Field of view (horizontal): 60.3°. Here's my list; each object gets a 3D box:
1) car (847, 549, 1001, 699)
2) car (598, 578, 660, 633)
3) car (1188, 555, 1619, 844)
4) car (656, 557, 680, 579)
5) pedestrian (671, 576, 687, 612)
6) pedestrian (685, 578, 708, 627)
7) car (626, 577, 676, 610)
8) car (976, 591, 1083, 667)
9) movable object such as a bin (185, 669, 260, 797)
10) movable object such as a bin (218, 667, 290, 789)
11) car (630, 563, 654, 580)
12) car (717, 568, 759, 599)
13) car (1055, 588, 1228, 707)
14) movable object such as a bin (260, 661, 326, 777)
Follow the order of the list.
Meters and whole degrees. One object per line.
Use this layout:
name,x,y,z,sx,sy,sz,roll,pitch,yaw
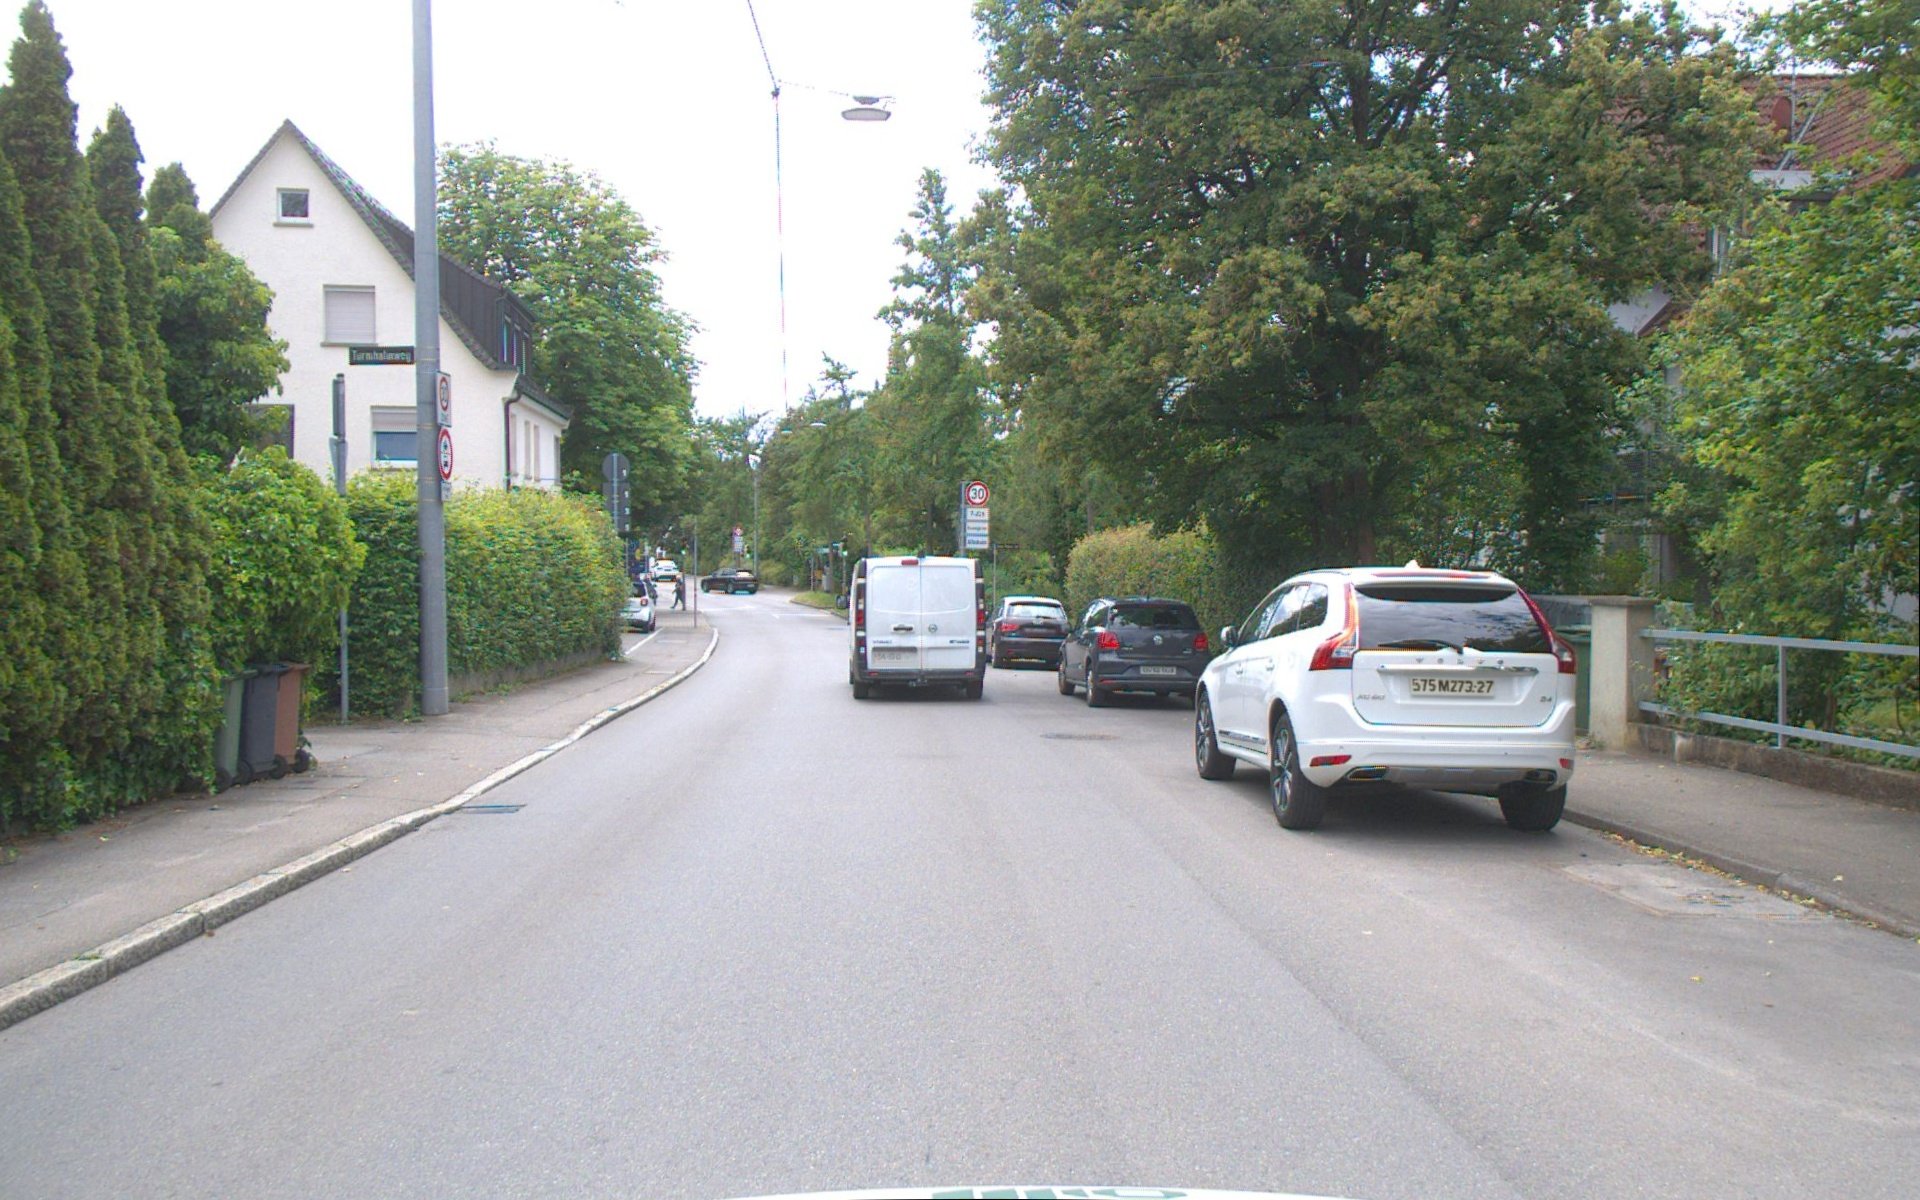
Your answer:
car,-0.629,0.275,24.372,1.893,1.998,4.396,1,1,-6
car,-10.164,0.134,50.936,1.558,1.565,2.920,2,1,-6
car,2.957,0.582,12.059,1.828,1.714,4.348,1,0,-2
car,-23.559,-2.590,133.496,1.792,1.758,3.991,1,1,-10
pedestrian,-13.031,-0.267,76.695,0.684,1.644,0.714,0,2,-7
pedestrian,-8.976,0.090,56.378,0.692,1.638,0.576,-1,0,-2
car,-14.909,-0.326,79.982,1.744,1.466,4.522,2,0,-3
car,1.390,0.562,34.290,1.676,1.437,3.786,2,0,-6
movable object such as a bin,-5.506,0.986,12.364,0.329,0.909,0.476,1,0,0
movable object such as a bin,-5.500,0.989,12.895,0.329,0.909,0.476,1,0,0
car,-32.557,-2.904,169.380,1.865,1.639,4.476,0,1,-19
car,-14.221,-1.067,105.921,1.868,1.892,4.380,0,1,-19
car,2.442,0.598,23.141,1.676,1.513,3.786,1,0,-5
movable object such as a bin,-5.497,0.973,13.641,0.329,0.909,0.476,1,0,0
